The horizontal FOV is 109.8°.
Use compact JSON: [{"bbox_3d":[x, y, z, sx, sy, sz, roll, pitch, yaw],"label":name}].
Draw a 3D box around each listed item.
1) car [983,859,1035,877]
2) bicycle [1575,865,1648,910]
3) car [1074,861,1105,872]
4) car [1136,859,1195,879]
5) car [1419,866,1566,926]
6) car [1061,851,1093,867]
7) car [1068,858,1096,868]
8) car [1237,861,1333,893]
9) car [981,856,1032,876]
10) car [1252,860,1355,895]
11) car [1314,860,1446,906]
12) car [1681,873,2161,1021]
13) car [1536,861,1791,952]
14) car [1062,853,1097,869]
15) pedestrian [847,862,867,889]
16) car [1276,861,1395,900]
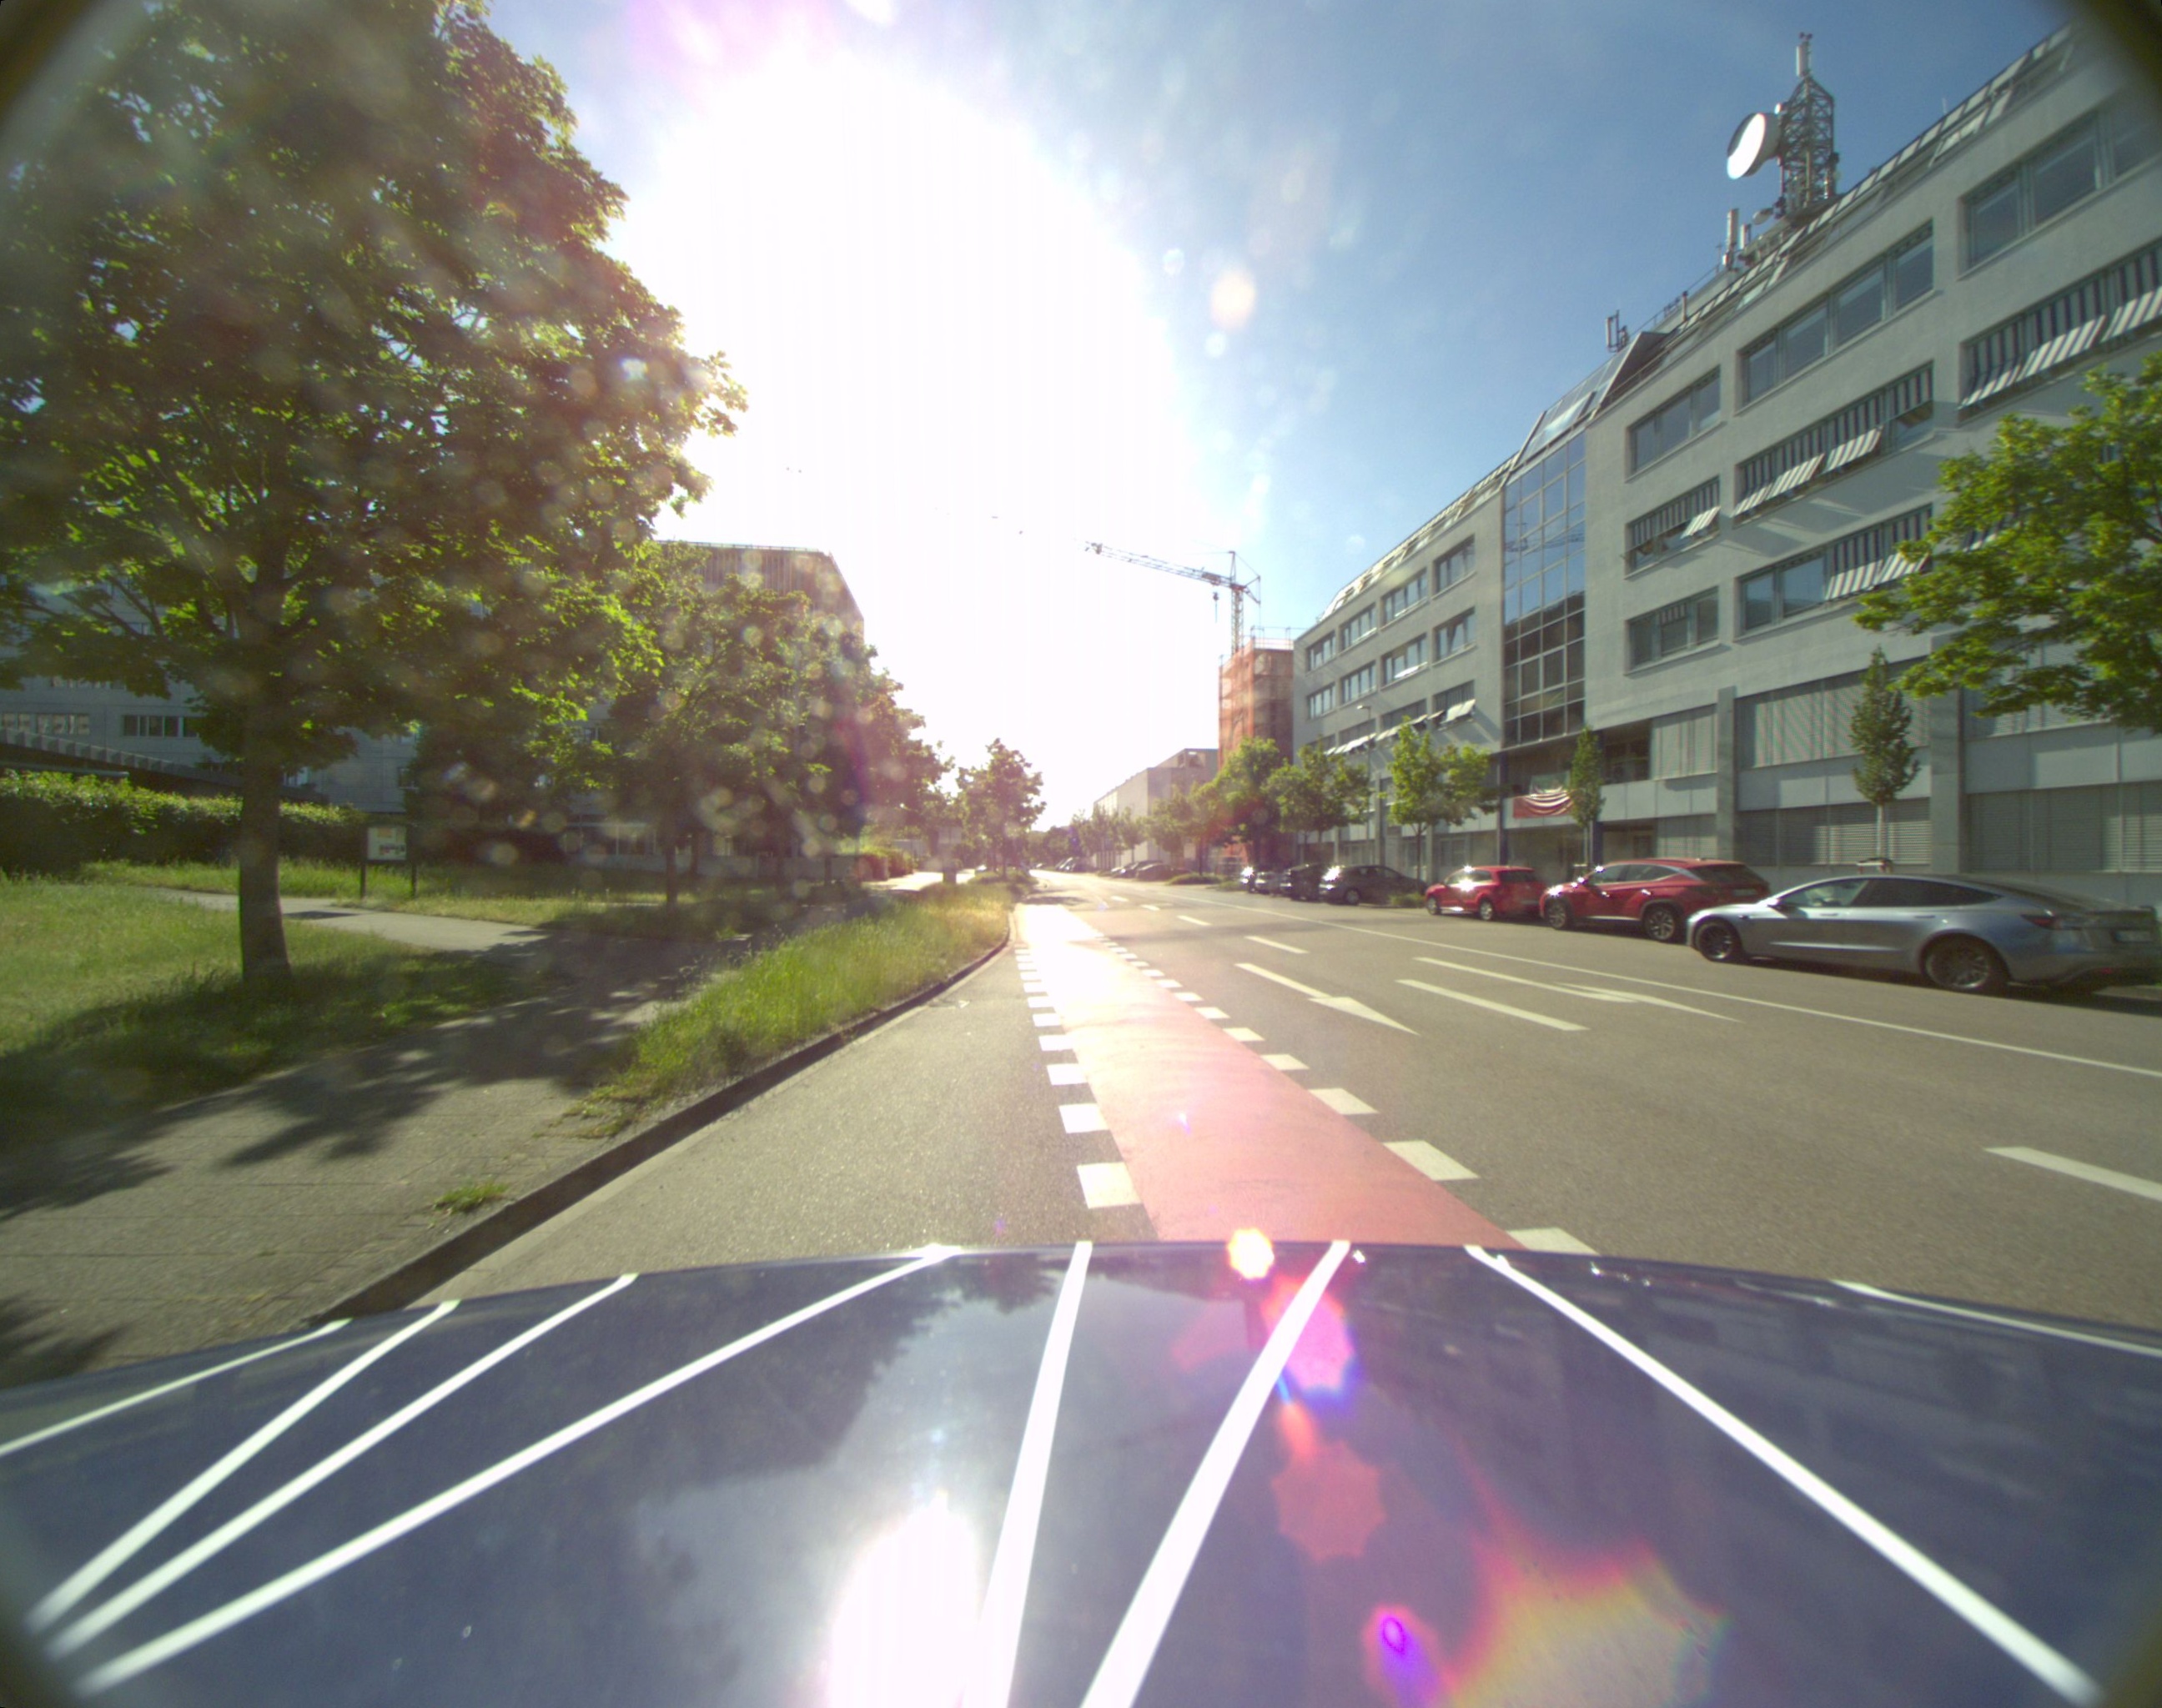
[{"bbox_3d":[-6.216,1.174,65.455,4.416,1.454,1.894,1,0,-6],"label":"car"},{"bbox_3d":[16.963,1.031,24.382,0.711,1.339,2.232,1,0,-1],"label":"bicycle"},{"bbox_3d":[1.284,1.873,112.509,4.318,1.505,1.717,-2,0,-7],"label":"car"},{"bbox_3d":[6.912,1.235,62.134,4.400,1.423,1.976,-2,0,-10],"label":"car"},{"bbox_3d":[11.375,1.095,21.323,1.693,1.423,3.869,-2,0,-6],"label":"car"},{"bbox_3d":[-0.799,0.936,138.837,5.585,2.622,2.009,-2,0,-4],"label":"car"},{"bbox_3d":[0.198,1.492,123.607,4.318,1.505,1.692,-2,0,-7],"label":"car"},{"bbox_3d":[10.329,1.153,38.585,4.399,1.423,1.692,-2,0,-8],"label":"car"},{"bbox_3d":[-6.646,1.065,67.704,4.416,1.631,2.073,1,0,-6],"label":"car"},{"bbox_3d":[10.608,1.100,36.308,4.400,1.423,1.692,-2,0,-11],"label":"car"},{"bbox_3d":[11.335,1.054,28.883,4.400,1.529,1.692,-2,0,-11],"label":"car"},{"bbox_3d":[11.003,1.039,10.297,1.694,1.459,4.543,1,0,-9],"label":"car"},{"bbox_3d":[12.055,0.981,16.164,1.693,1.597,4.307,-2,0,-9],"label":"car"},{"bbox_3d":[-0.247,1.143,126.924,5.585,2.468,2.009,-2,0,-4],"label":"car"},{"bbox_3d":[-10.330,1.004,35.026,0.848,1.210,0.727,2,0,-19],"label":"pedestrian"},{"bbox_3d":[10.640,1.077,31.872,4.400,1.423,1.692,-2,0,-9],"label":"car"}]
